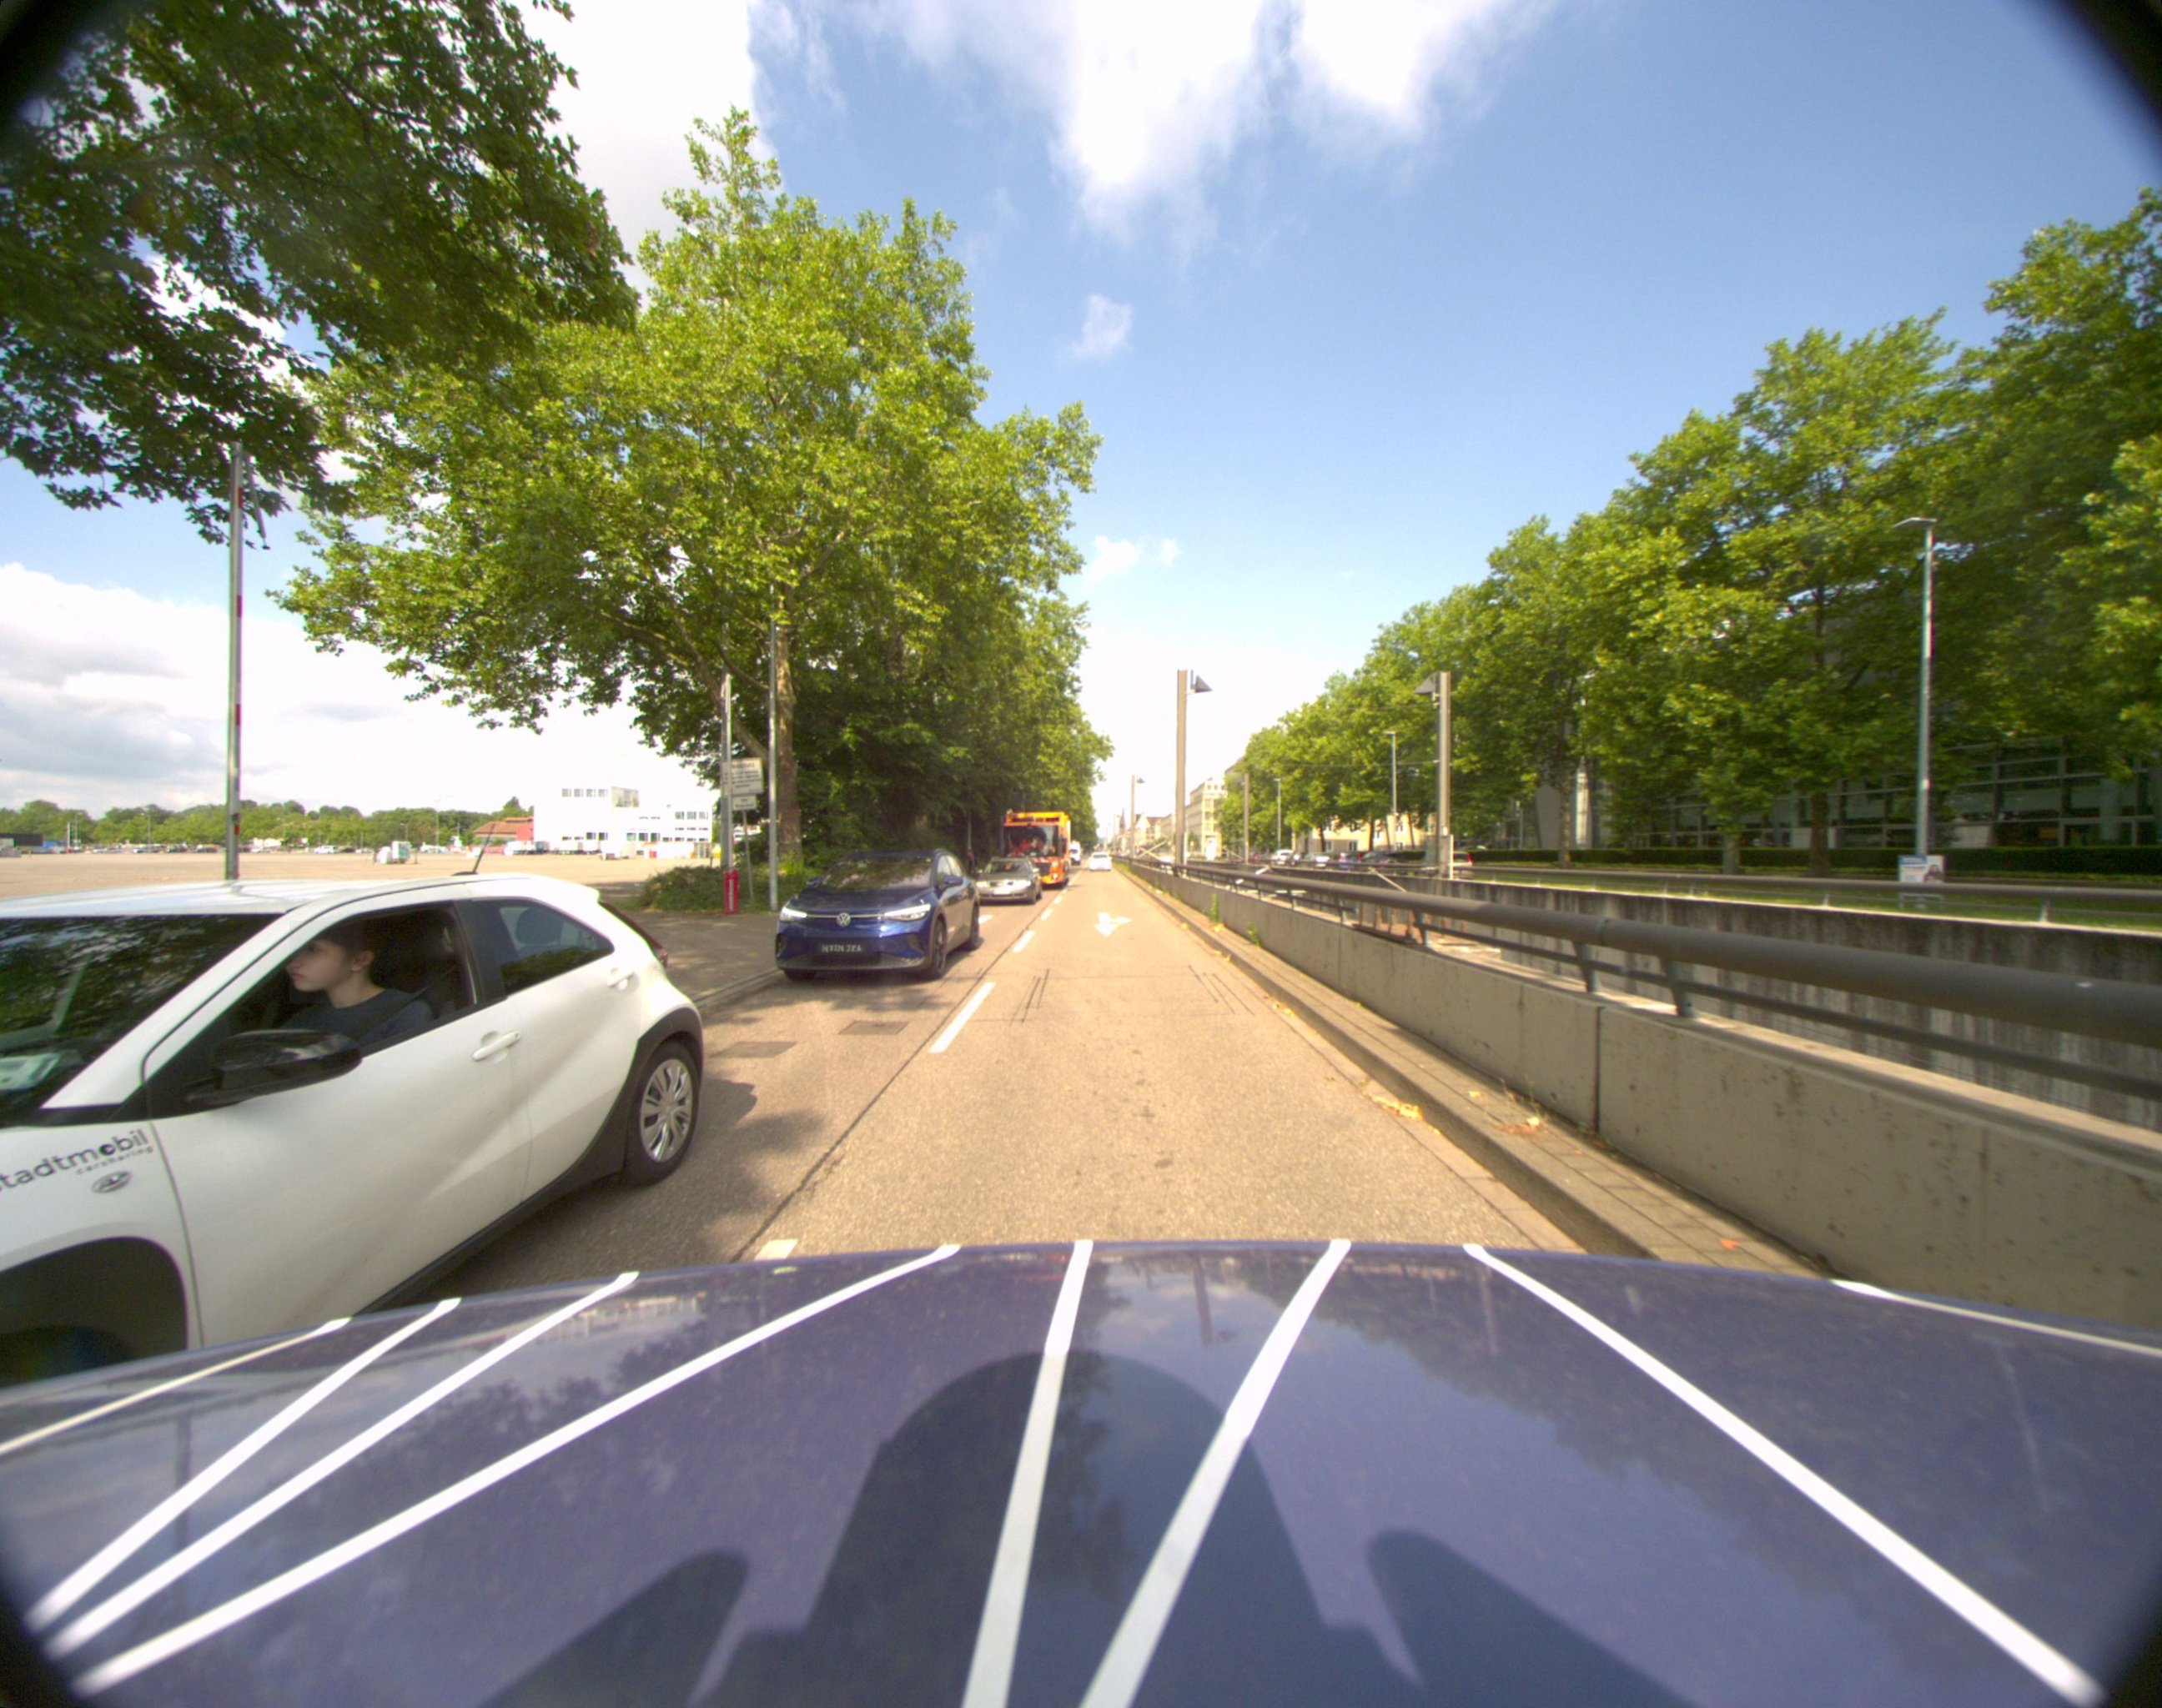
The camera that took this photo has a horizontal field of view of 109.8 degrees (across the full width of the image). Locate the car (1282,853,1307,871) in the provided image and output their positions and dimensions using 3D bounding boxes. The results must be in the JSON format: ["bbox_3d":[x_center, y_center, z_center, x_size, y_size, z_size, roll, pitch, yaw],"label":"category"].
[{"bbox_3d":[16.613,0.625,59.187,1.167,1.368,2.745,0,1,1],"label":"car"}]

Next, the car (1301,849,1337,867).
[{"bbox_3d":[16.786,0.266,53.661,1.611,1.198,3.127,0,1,1],"label":"car"}]

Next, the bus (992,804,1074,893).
[{"bbox_3d":[-1.934,-0.296,35.209,2.744,3.446,10.394,-2,1,2],"label":"bus"}]

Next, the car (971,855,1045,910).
[{"bbox_3d":[-2.179,0.825,23.724,1.771,1.455,4.000,-2,1,2],"label":"car"}]

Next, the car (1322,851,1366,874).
[{"bbox_3d":[16.807,0.528,48.724,1.579,1.368,3.896,0,1,1],"label":"car"}]

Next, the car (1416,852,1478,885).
[{"bbox_3d":[16.855,0.634,35.143,1.420,1.448,3.157,0,1,1],"label":"car"}]

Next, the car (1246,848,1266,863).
[{"bbox_3d":[16.970,0.114,73.690,1.309,1.368,3.185,0,1,1],"label":"car"}]

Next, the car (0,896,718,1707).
[{"bbox_3d":[-2.845,0.986,2.253,1.749,1.470,3.798,-2,0,-1],"label":"car"}]

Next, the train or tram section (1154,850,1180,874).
[{"bbox_3d":[9.618,0.879,85.542,2.216,2.444,6.248,-2,1,1],"label":"train or tram section"}]

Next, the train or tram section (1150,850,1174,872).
[{"bbox_3d":[9.715,0.801,91.808,2.216,2.444,6.248,-2,1,1],"label":"train or tram section"}]

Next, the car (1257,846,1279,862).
[{"bbox_3d":[16.891,-0.028,68.789,1.309,1.368,3.185,0,1,1],"label":"car"}]

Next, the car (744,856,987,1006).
[{"bbox_3d":[-2.619,0.846,10.512,1.891,1.566,4.581,-2,0,2],"label":"car"}]

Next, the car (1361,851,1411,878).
[{"bbox_3d":[16.770,0.542,41.889,1.582,1.426,3.157,0,1,1],"label":"car"}]

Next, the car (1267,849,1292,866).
[{"bbox_3d":[16.586,0.270,63.640,1.309,1.368,3.185,0,1,1],"label":"car"}]

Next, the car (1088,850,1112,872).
[{"bbox_3d":[1.520,0.553,61.422,1.737,1.478,3.601,-5,2,0],"label":"car"}]
